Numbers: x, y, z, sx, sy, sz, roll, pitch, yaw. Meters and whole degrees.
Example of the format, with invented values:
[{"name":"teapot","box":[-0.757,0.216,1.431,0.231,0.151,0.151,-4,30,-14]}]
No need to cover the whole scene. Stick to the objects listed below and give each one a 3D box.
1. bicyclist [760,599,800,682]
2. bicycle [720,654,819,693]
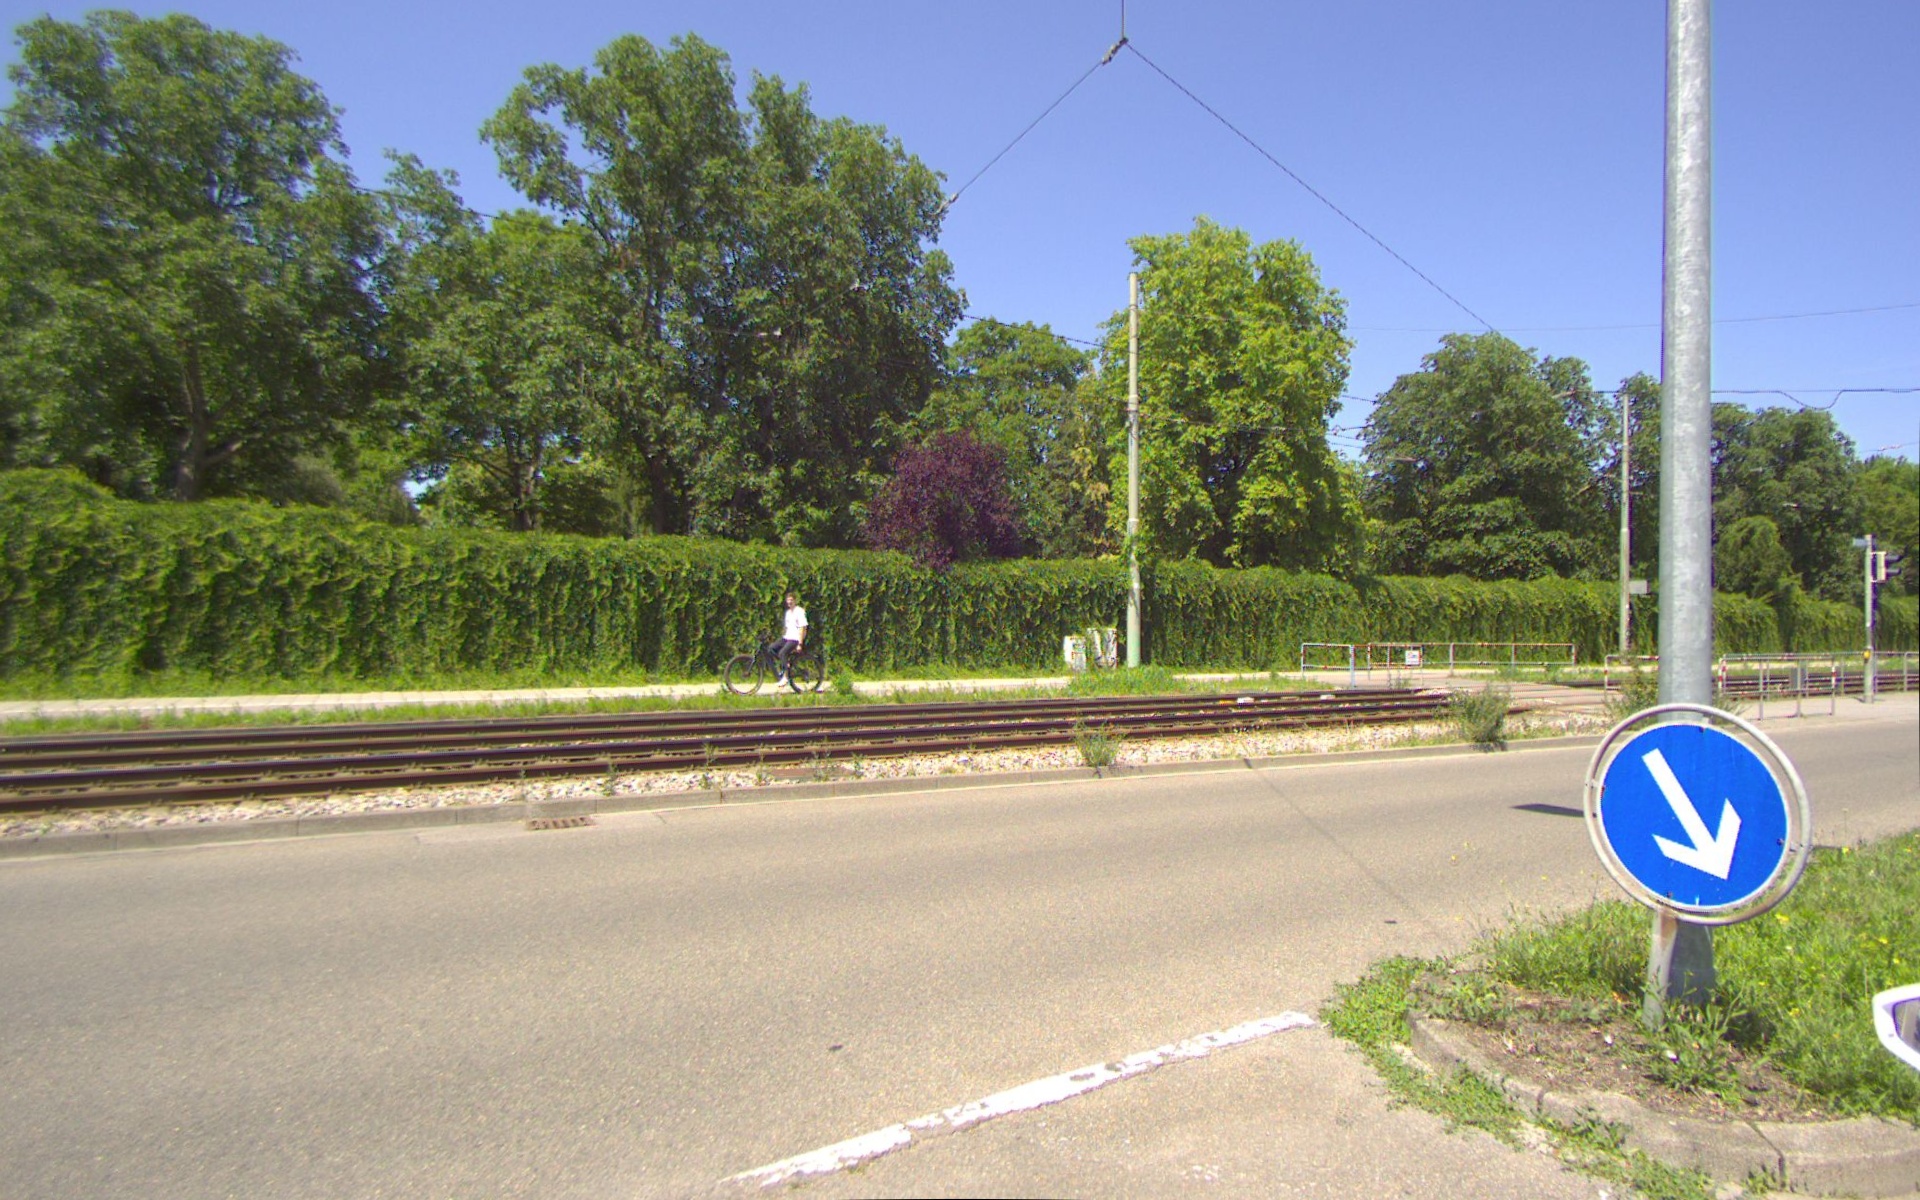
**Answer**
[{"name":"bicyclist","box":[-3.308,0.739,18.430,0.554,1.497,0.555,1,-1,-29]},{"name":"bicycle","box":[-3.471,1.330,18.341,1.699,0.656,0.558,1,-1,-29]}]
